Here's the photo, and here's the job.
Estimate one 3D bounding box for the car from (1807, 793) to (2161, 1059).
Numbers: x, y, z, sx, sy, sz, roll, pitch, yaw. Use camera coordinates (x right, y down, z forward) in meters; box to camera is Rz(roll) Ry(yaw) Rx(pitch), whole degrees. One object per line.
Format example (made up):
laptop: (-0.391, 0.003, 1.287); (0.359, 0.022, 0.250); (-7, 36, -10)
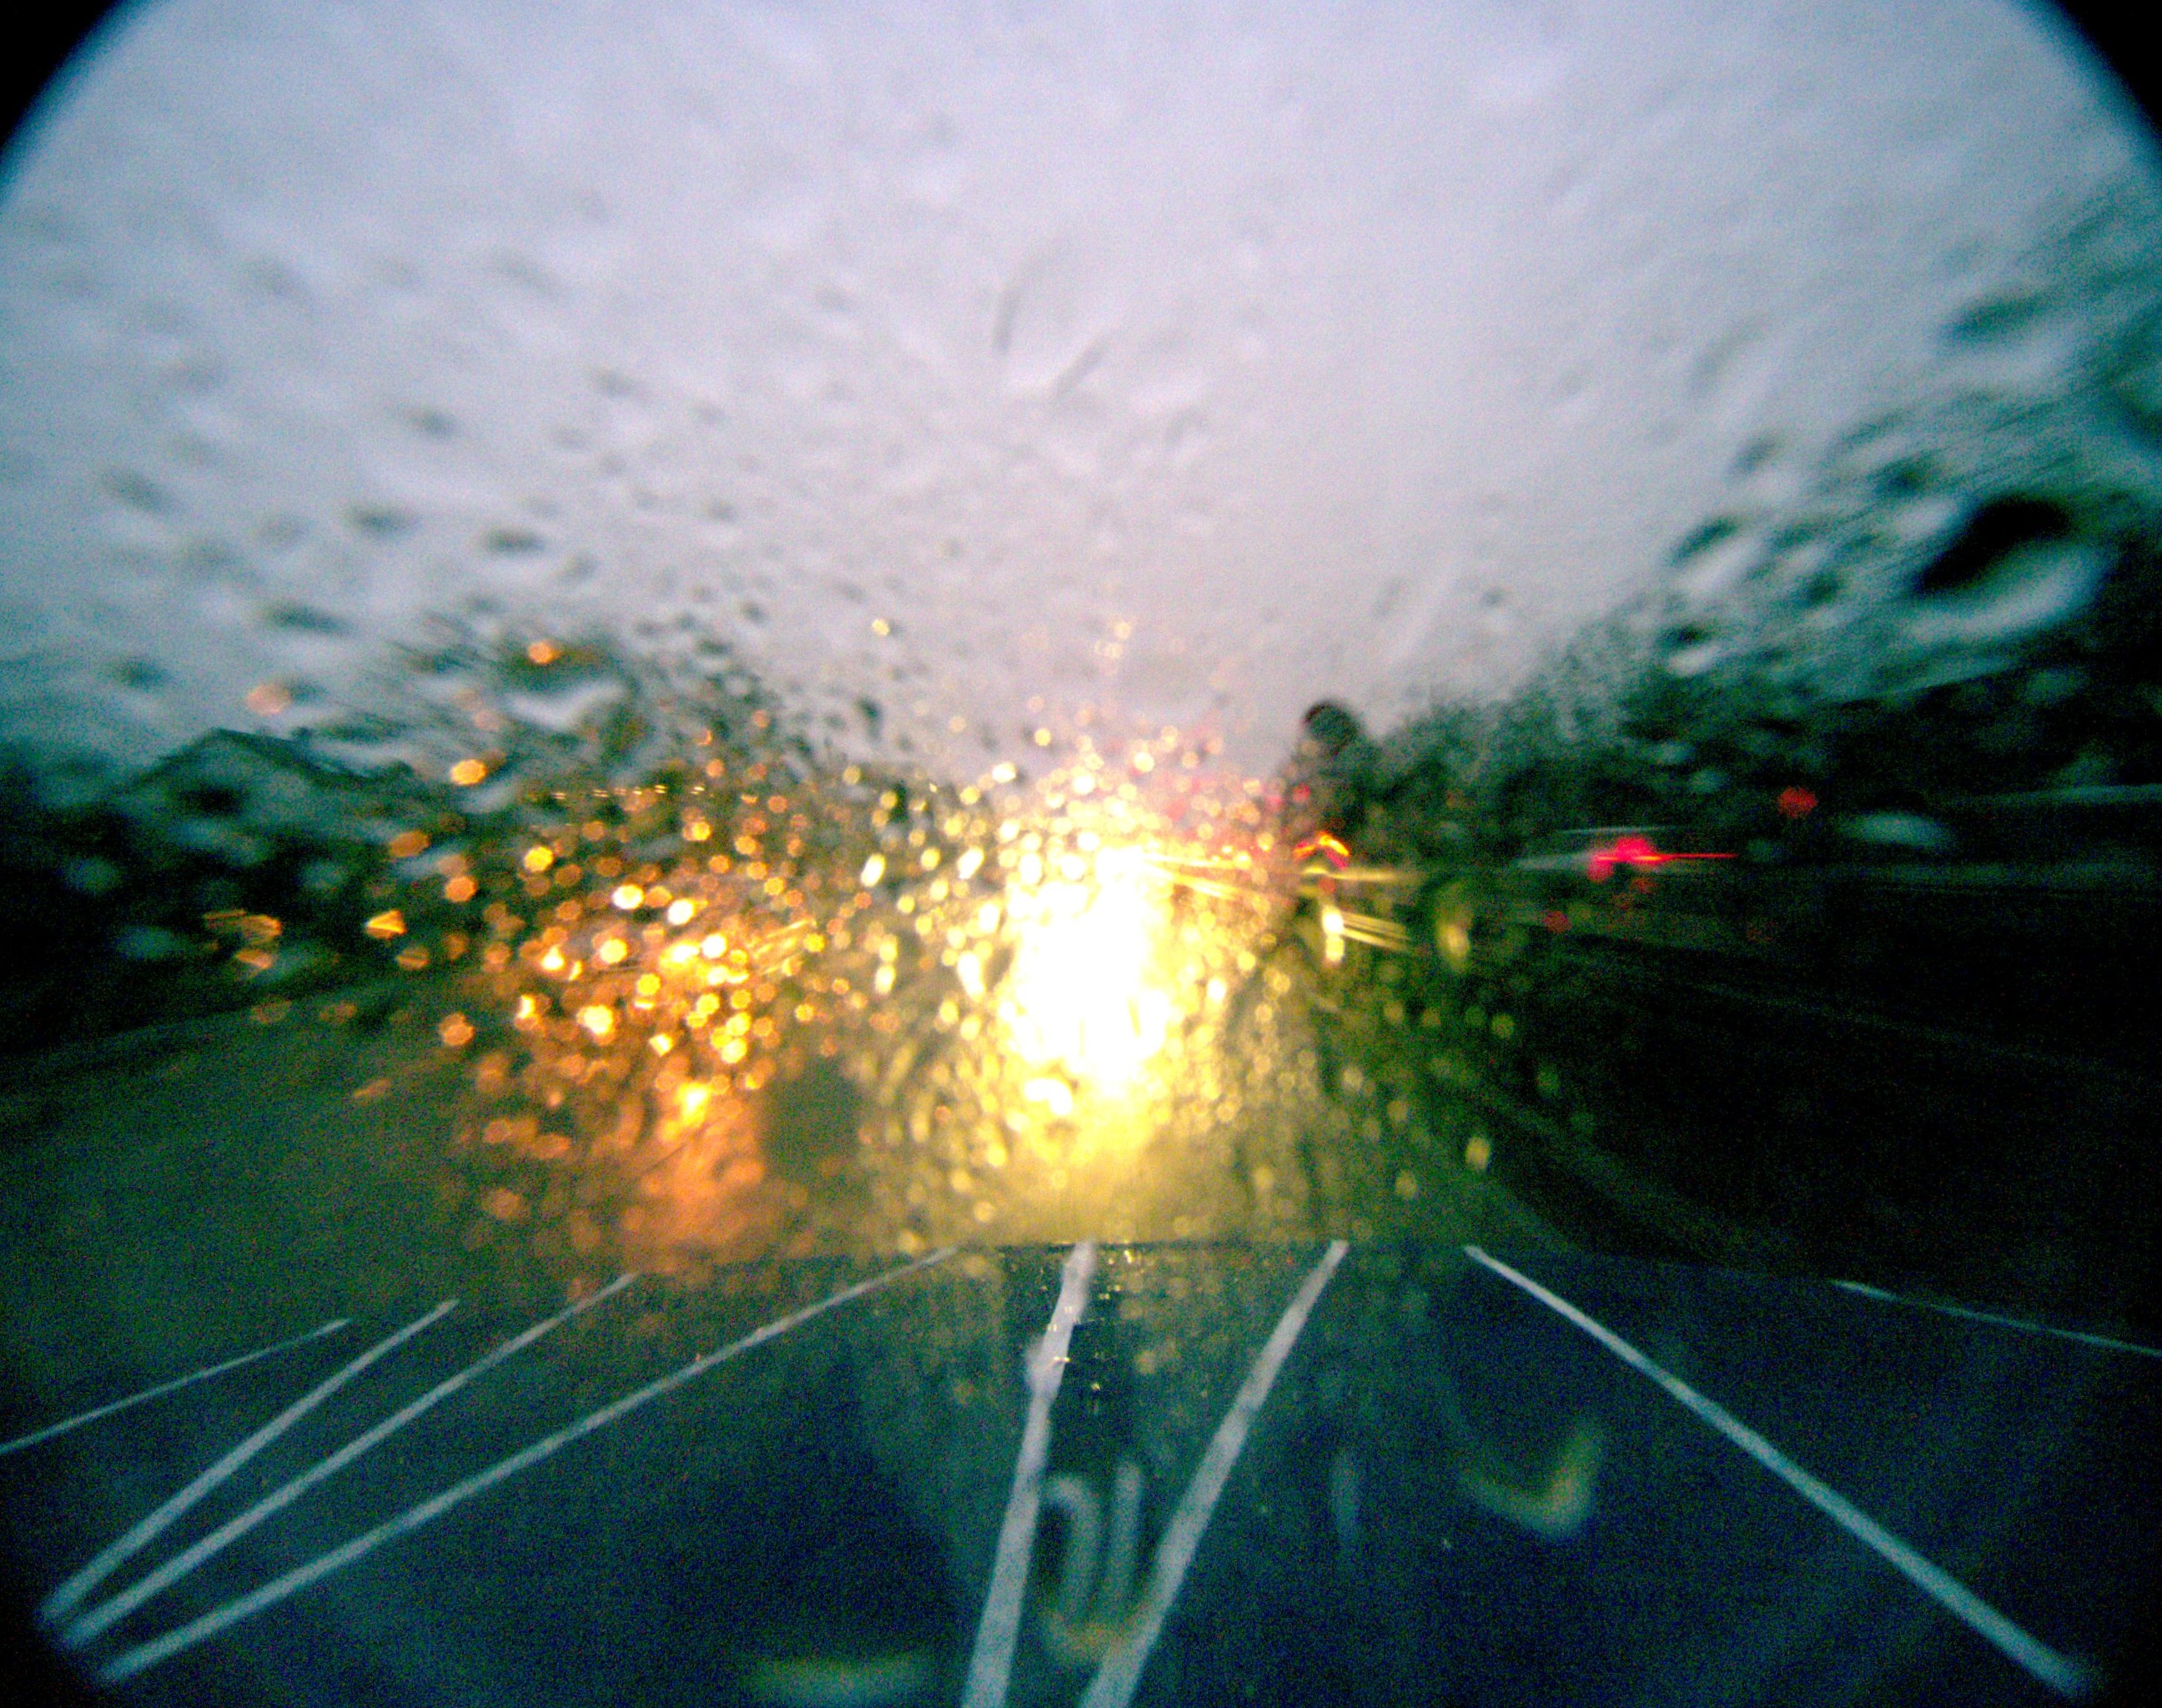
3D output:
car: (7.750, 0.421, 5.163); (1.771, 1.674, 3.999); (-3, 1, 0)

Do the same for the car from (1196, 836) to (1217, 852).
car: (15.097, -1.218, 91.502); (1.887, 1.822, 4.787); (-3, 1, 3)

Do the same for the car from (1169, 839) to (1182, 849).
car: (16.333, -1.713, 131.233); (1.787, 1.501, 4.135); (-3, 1, 3)

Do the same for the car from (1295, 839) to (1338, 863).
car: (16.764, -0.258, 54.321); (1.867, 1.530, 4.112); (-3, 1, 2)

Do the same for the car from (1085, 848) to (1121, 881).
car: (1.138, 0.504, 40.522); (1.758, 1.521, 3.999); (-3, 1, 0)

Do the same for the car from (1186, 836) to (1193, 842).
car: (31.608, -4.380, 221.190); (1.740, 1.486, 3.844); (-3, 1, 5)

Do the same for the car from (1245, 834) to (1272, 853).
car: (19.064, -1.152, 81.899); (1.884, 1.822, 4.787); (-3, 1, 3)

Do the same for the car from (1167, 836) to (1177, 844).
car: (17.450, -2.740, 145.930); (1.657, 1.510, 3.505); (-3, 1, 4)

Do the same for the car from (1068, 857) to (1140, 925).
car: (0.513, 0.856, 19.697); (1.595, 1.445, 4.175); (-3, 1, 0)

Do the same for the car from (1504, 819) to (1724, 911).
car: (11.309, 0.169, 16.576); (1.696, 1.657, 4.432); (-3, 1, 1)

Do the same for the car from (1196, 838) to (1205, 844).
car: (31.165, -3.349, 198.073); (1.707, 1.557, 4.851); (-3, 1, 5)

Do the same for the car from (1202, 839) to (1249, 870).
car: (7.607, -0.012, 40.349); (1.758, 1.433, 3.999); (-3, 1, 2)

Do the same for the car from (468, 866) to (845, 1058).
car: (-4.488, 1.014, 8.979); (1.854, 1.493, 4.262); (-3, 1, 2)
